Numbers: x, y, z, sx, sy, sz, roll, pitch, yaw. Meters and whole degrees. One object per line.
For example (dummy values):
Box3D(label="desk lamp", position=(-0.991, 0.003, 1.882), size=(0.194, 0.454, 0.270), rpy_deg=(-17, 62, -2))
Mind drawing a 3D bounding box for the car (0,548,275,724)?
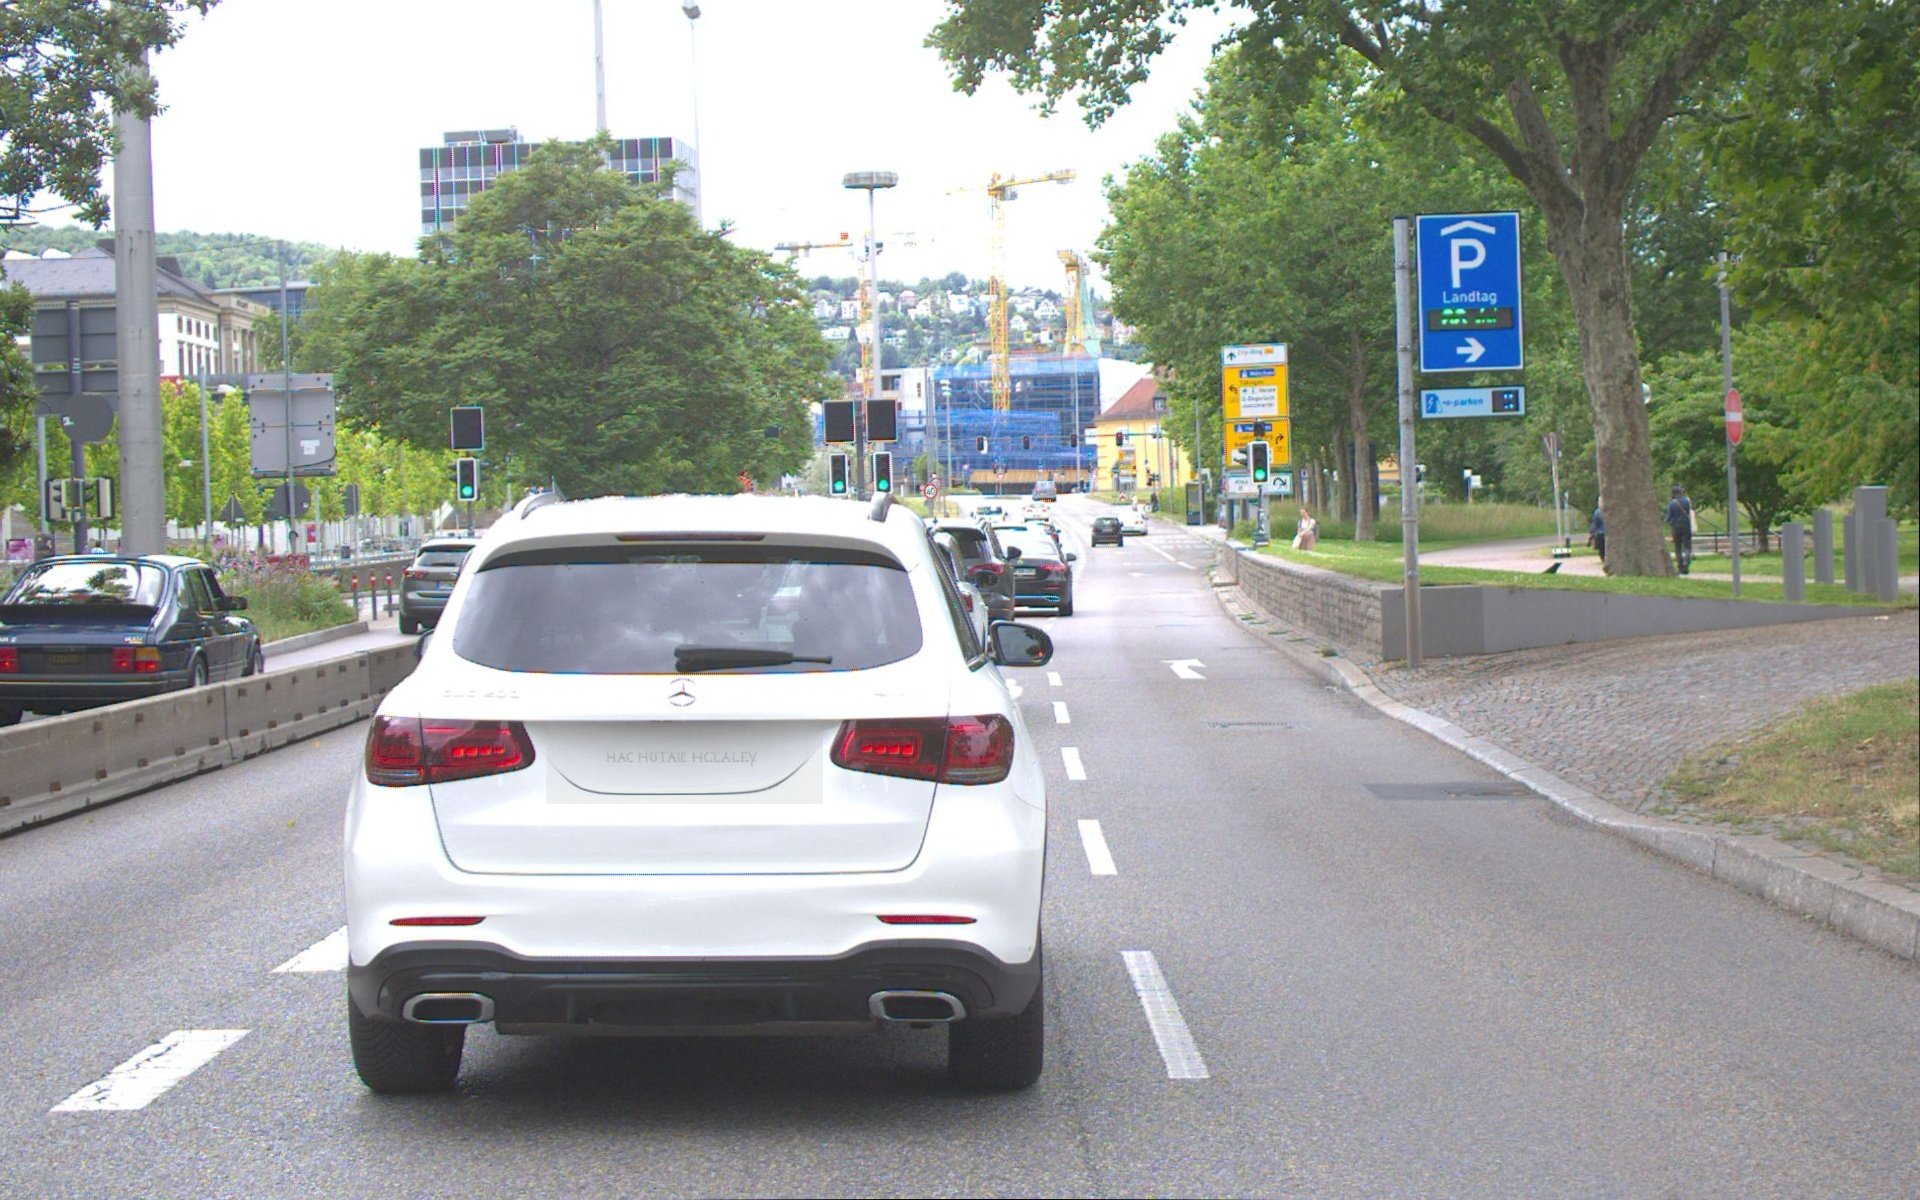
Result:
Box3D(label="car", position=(-6.848, 0.242, 28.202), size=(1.719, 1.288, 4.000), rpy_deg=(1, 1, -1))

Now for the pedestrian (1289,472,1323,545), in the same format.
Box3D(label="pedestrian", position=(7.960, -2.109, 79.107), size=(0.697, 1.650, 0.684), rpy_deg=(1, 0, 0))

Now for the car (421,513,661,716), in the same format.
Box3D(label="car", position=(-3.674, 0.075, 30.713), size=(1.719, 1.673, 4.000), rpy_deg=(1, 1, -1))

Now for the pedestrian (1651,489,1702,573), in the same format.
Box3D(label="pedestrian", position=(13.196, -1.267, 63.323), size=(0.786, 1.521, 0.683), rpy_deg=(1, 0, 1))

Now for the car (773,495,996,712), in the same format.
Box3D(label="car", position=(-0.589, 0.005, 27.826), size=(1.654, 1.605, 4.000), rpy_deg=(1, 1, -1))

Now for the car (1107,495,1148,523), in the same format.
Box3D(label="car", position=(10.056, -5.467, 206.547), size=(1.993, 1.612, 4.001), rpy_deg=(1, 1, -4))

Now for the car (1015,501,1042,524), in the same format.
Box3D(label="car", position=(4.849, -6.163, 243.093), size=(1.719, 1.579, 4.000), rpy_deg=(1, 1, -1))

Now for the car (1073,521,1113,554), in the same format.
Box3D(label="car", position=(6.694, -3.156, 173.142), size=(1.719, 1.579, 4.000), rpy_deg=(1, 1, -1))

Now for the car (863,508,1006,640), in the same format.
Box3D(label="car", position=(-0.352, -0.362, 43.978), size=(1.719, 1.579, 4.000), rpy_deg=(1, 1, -1))

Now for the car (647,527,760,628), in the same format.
Box3D(label="car", position=(-4.198, -0.397, 56.680), size=(1.719, 1.579, 4.001), rpy_deg=(1, 1, -3))

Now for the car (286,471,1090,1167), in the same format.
Box3D(label="car", position=(-0.706, 0.517, 10.401), size=(1.940, 1.678, 4.000), rpy_deg=(1, 1, -1))

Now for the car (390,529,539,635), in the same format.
Box3D(label="car", position=(-7.642, -0.311, 53.309), size=(1.753, 1.548, 4.000), rpy_deg=(1, 1, -1))

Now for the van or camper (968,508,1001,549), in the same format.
Box3D(label="van or camper", position=(1.427, -4.199, 203.661), size=(1.922, 2.312, 4.000), rpy_deg=(0, 0, 0))

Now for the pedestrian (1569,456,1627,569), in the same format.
Box3D(label="pedestrian", position=(11.495, -1.572, 61.982), size=(0.856, 2.007, 0.815), rpy_deg=(1, 0, -1))

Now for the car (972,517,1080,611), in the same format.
Box3D(label="car", position=(1.135, -0.657, 60.807), size=(1.719, 1.579, 4.000), rpy_deg=(1, 1, -1))

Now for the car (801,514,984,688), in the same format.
Box3D(label="car", position=(-0.631, -0.042, 34.733), size=(1.672, 1.622, 4.000), rpy_deg=(1, 2, 1))

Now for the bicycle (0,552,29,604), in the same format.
Box3D(label="bicycle", position=(-32.698, -0.683, 113.350), size=(3.613, 1.678, 1.183), rpy_deg=(-2, 1, 0))
